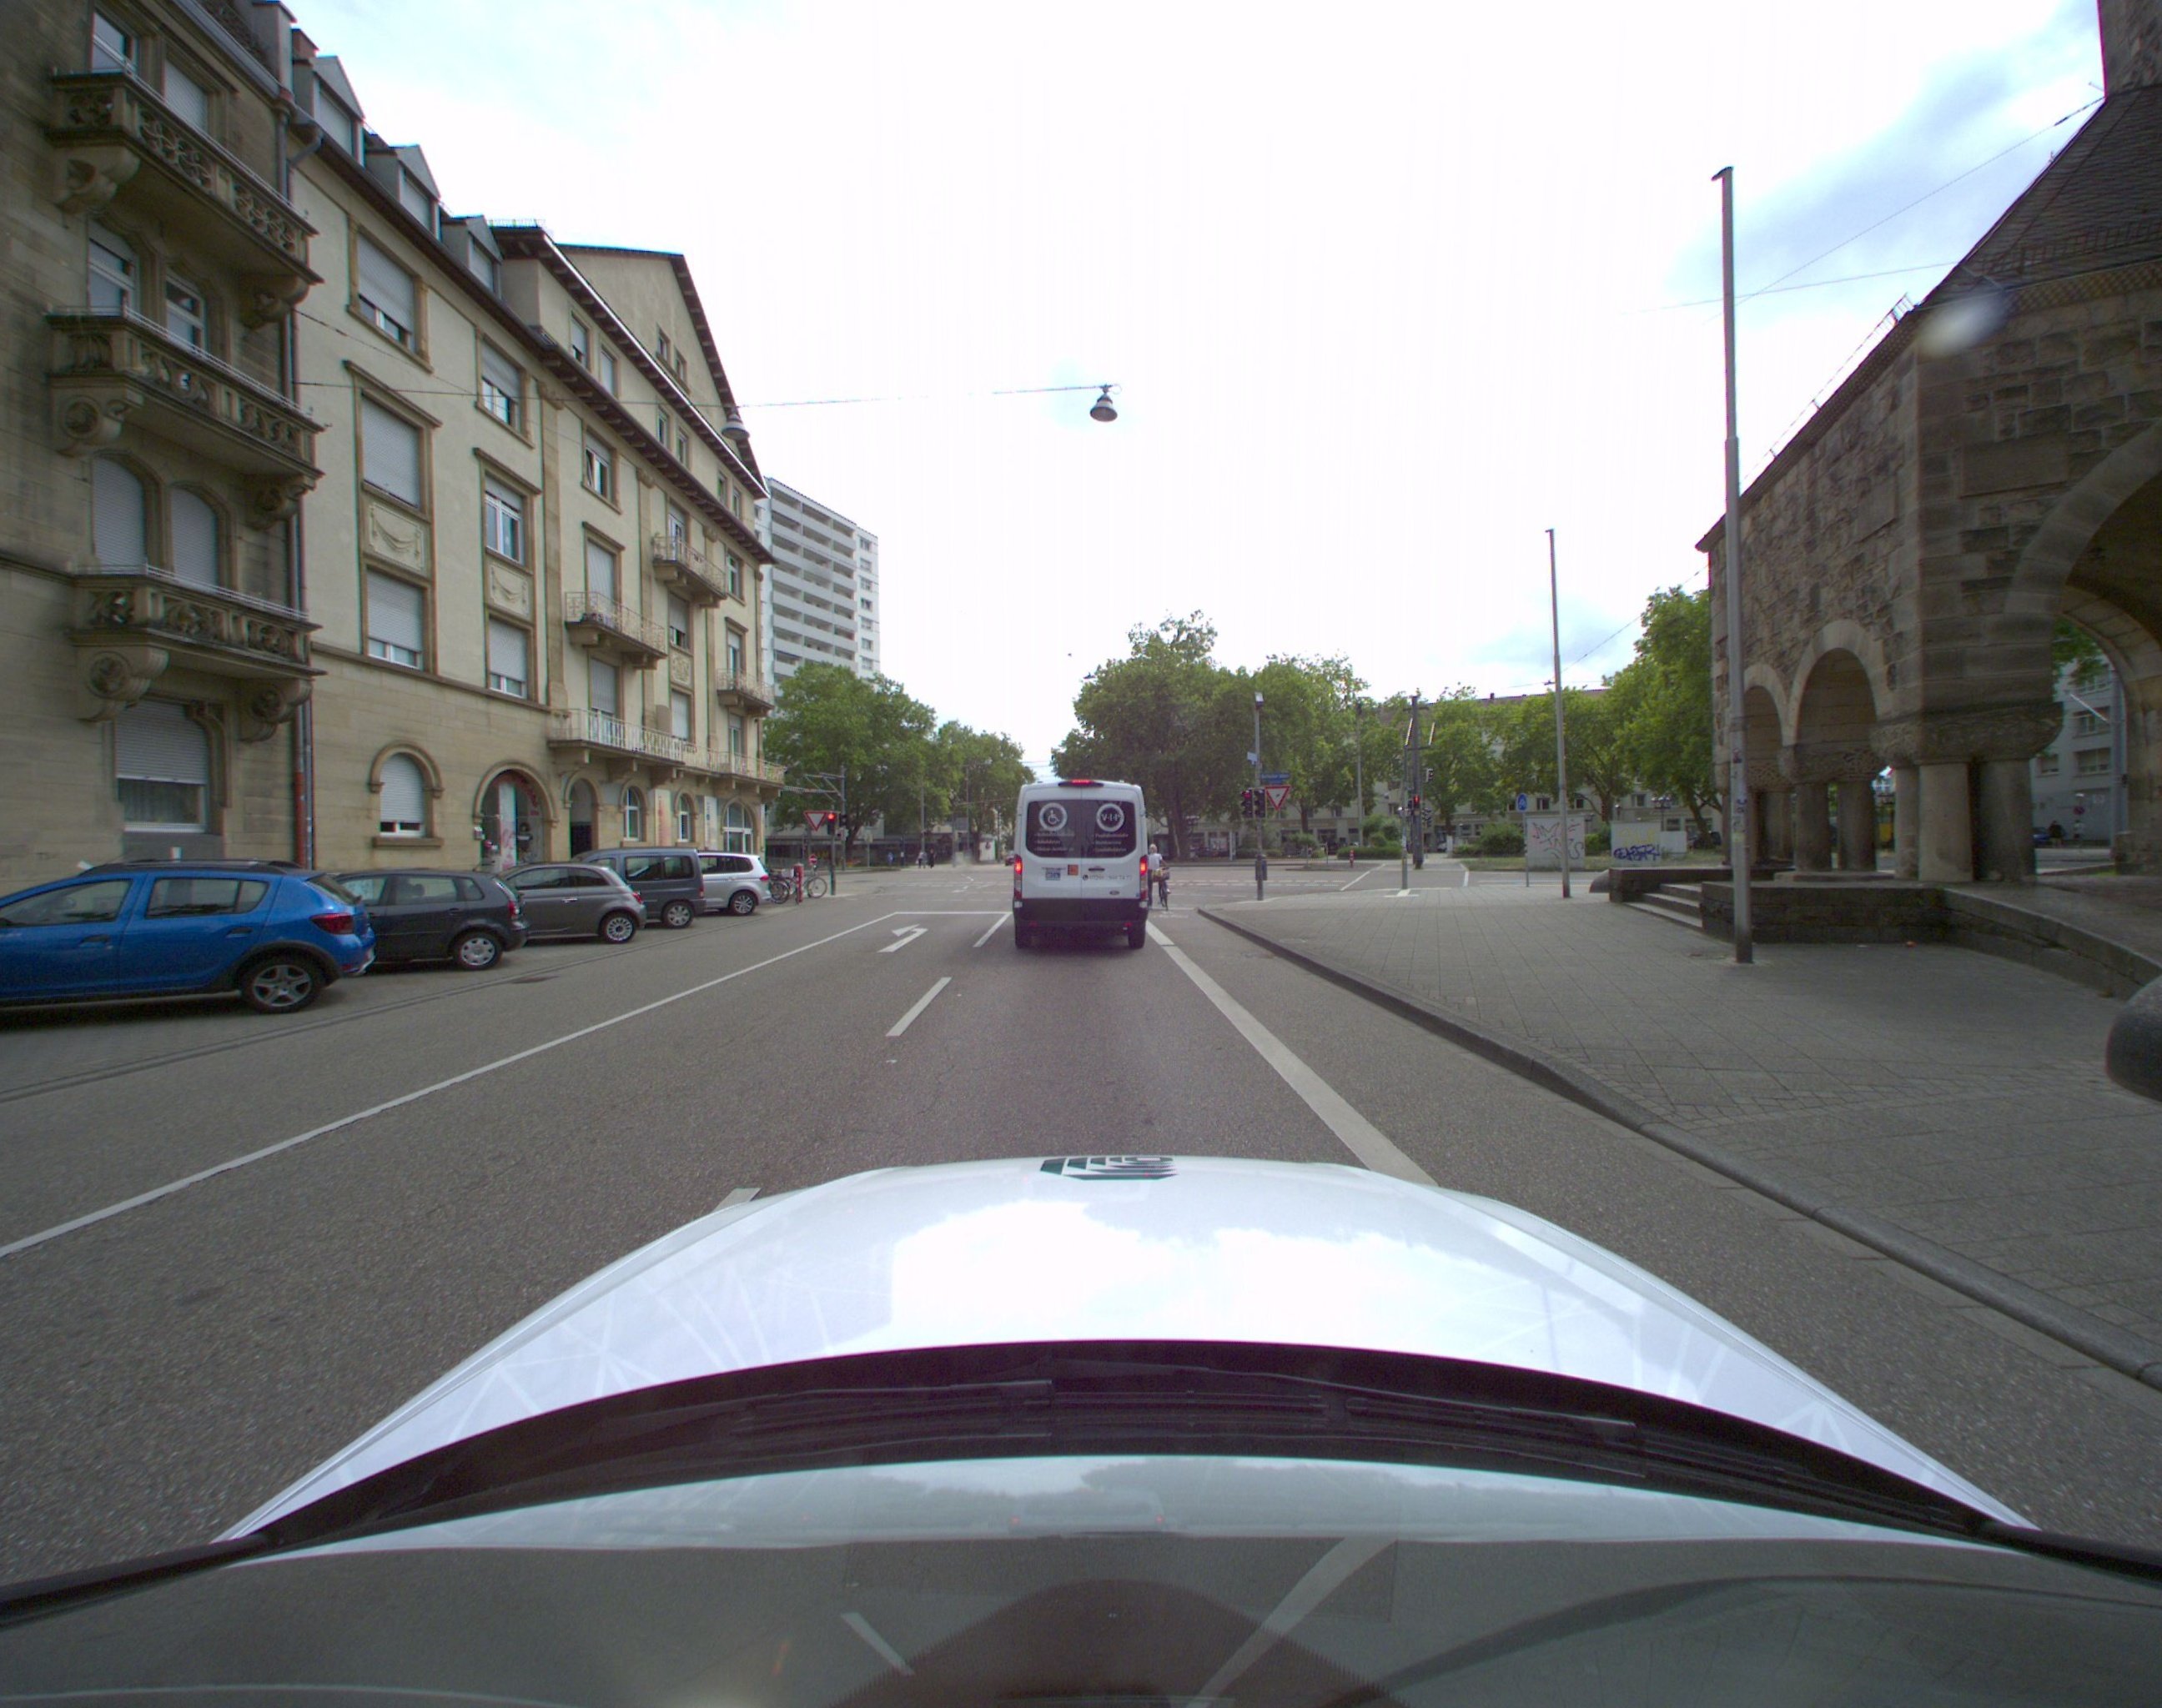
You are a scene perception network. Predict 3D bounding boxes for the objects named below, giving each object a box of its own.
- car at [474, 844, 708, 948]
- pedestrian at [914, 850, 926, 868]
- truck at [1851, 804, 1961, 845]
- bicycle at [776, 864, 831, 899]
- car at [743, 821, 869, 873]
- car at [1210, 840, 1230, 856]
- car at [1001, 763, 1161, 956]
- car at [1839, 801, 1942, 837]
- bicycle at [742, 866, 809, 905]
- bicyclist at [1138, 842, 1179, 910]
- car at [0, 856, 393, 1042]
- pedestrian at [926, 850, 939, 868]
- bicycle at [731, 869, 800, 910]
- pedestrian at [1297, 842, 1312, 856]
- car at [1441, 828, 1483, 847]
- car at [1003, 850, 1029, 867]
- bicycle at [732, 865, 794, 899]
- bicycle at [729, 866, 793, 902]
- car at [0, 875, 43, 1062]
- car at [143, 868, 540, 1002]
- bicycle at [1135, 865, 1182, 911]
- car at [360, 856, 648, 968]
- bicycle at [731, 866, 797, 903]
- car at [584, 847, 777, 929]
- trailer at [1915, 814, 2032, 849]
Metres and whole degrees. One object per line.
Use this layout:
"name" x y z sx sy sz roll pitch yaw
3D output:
"car" -10.377 0.788 17.390 4.033 1.878 1.776 -2 1 -40
"pedestrian" -14.006 0.435 70.828 0.801 1.572 0.726 -1 0 13
"truck" 56.865 -1.970 56.355 3.043 2.577 6.547 -2 1 23
"bicycle" -9.577 0.948 28.118 1.859 1.167 0.500 1 0 20
"car" -22.471 -0.547 66.465 9.796 3.915 3.475 -1 0 24
"car" 17.519 -0.745 102.875 1.984 1.930 4.005 -2 0 4
"car" -0.066 0.019 13.758 2.176 2.647 4.625 -2 1 -2
"car" 63.364 -2.691 63.863 5.273 2.585 2.191 -1 -1 21
"bicycle" -9.344 0.960 24.959 1.802 1.120 0.595 2 0 3
"bicyclist" 1.959 0.554 20.758 0.902 1.683 0.756 -1 0 -4
"car" -9.955 0.907 8.737 3.796 1.651 1.705 -2 1 -37
"pedestrian" -12.908 0.454 70.779 0.923 1.514 0.726 -1 0 13
"bicycle" -9.388 1.052 24.287 1.800 1.120 0.595 -2 0 5
"pedestrian" 21.619 -0.474 78.797 1.086 1.236 1.442 -3 0 4
"car" 40.806 -1.772 87.320 3.951 1.883 1.868 -2 0 23
"car" -6.219 0.384 78.024 1.612 1.476 4.008 -2 1 7
"bicycle" -10.530 0.928 26.983 1.808 1.120 0.592 1 0 -9
"bicycle" -10.315 0.969 26.290 1.808 1.120 0.592 1 0 -9
"car" -10.079 0.965 5.325 3.703 1.481 1.722 -2 1 -37
"car" -10.153 0.997 11.639 3.921 1.443 1.817 -2 1 -37
"bicycle" 1.965 0.850 20.946 0.901 1.075 1.968 -1 1 -3
"car" -10.272 0.915 14.717 4.033 1.651 1.776 -2 1 -40
"bicycle" -9.982 0.957 25.685 1.808 1.166 0.592 1 0 -9
"car" -10.012 0.772 20.511 4.033 1.773 1.776 -2 1 -40
"trailer" 53.800 -1.339 49.209 4.382 1.925 1.865 -1 0 24
